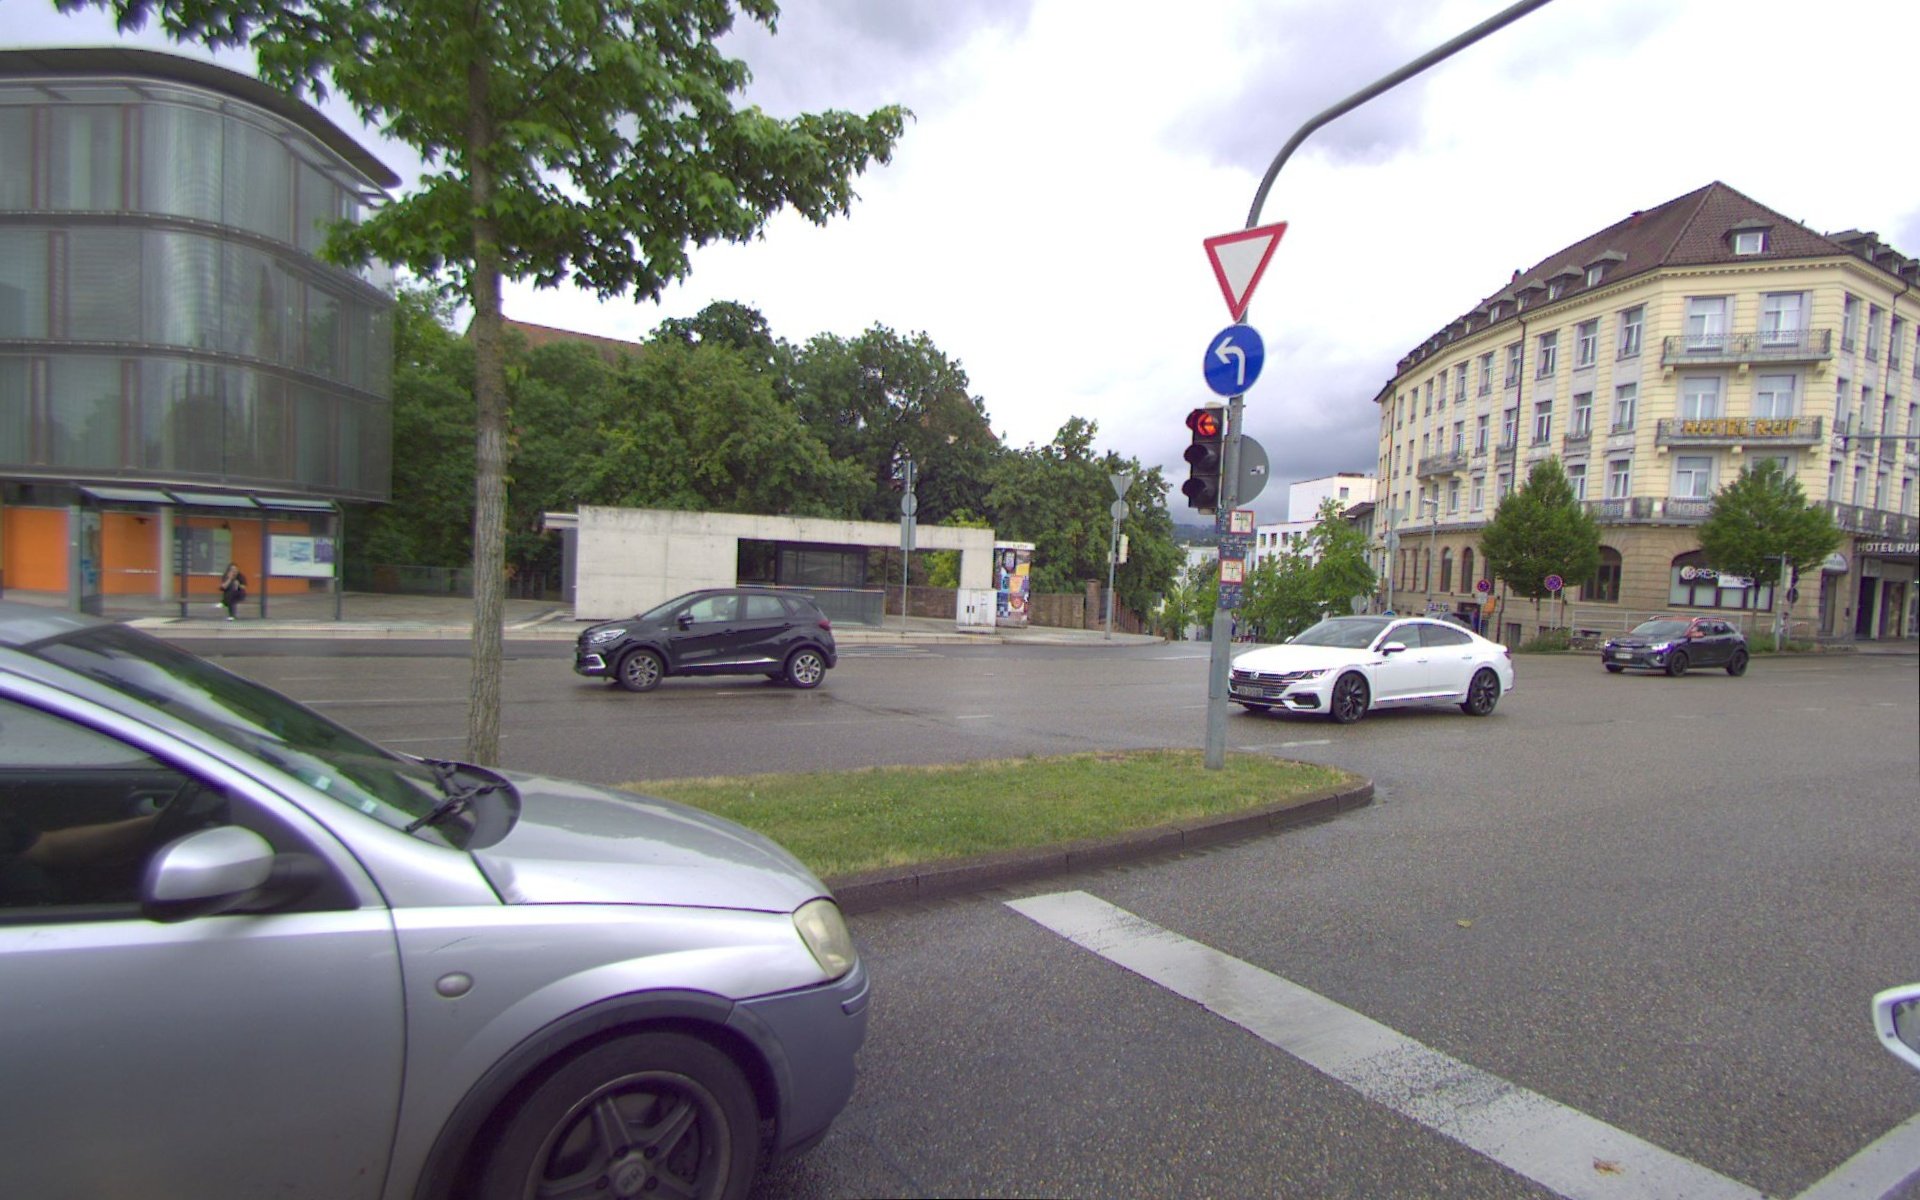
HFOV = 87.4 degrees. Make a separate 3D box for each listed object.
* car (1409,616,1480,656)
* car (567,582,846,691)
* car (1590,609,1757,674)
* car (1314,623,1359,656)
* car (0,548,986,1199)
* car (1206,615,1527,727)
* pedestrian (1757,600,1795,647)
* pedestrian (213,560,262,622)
[{"bbox_3d":[21.731,1.575,45.191,1.764,1.589,4.002,2,1,9],"label":"car"},{"bbox_3d":[-4.044,0.556,16.137,4.029,1.551,1.763,2,1,-29],"label":"car"},{"bbox_3d":[18.724,1.093,26.376,3.967,1.496,1.627,1,3,-22],"label":"car"},{"bbox_3d":[23.582,2.476,63.050,1.741,1.836,3.624,2,1,7],"label":"car"},{"bbox_3d":[-1.944,0.640,2.063,3.693,1.478,1.615,2,1,-31],"label":"car"},{"bbox_3d":[5.965,0.938,14.564,4.800,1.400,1.717,1,-1,-29],"label":"car"},{"bbox_3d":[33.512,0.963,41.276,1.010,1.903,0.859,1,1,-30],"label":"pedestrian"},{"bbox_3d":[-16.088,-0.195,22.383,0.780,1.341,0.798,1,1,-28],"label":"pedestrian"}]
